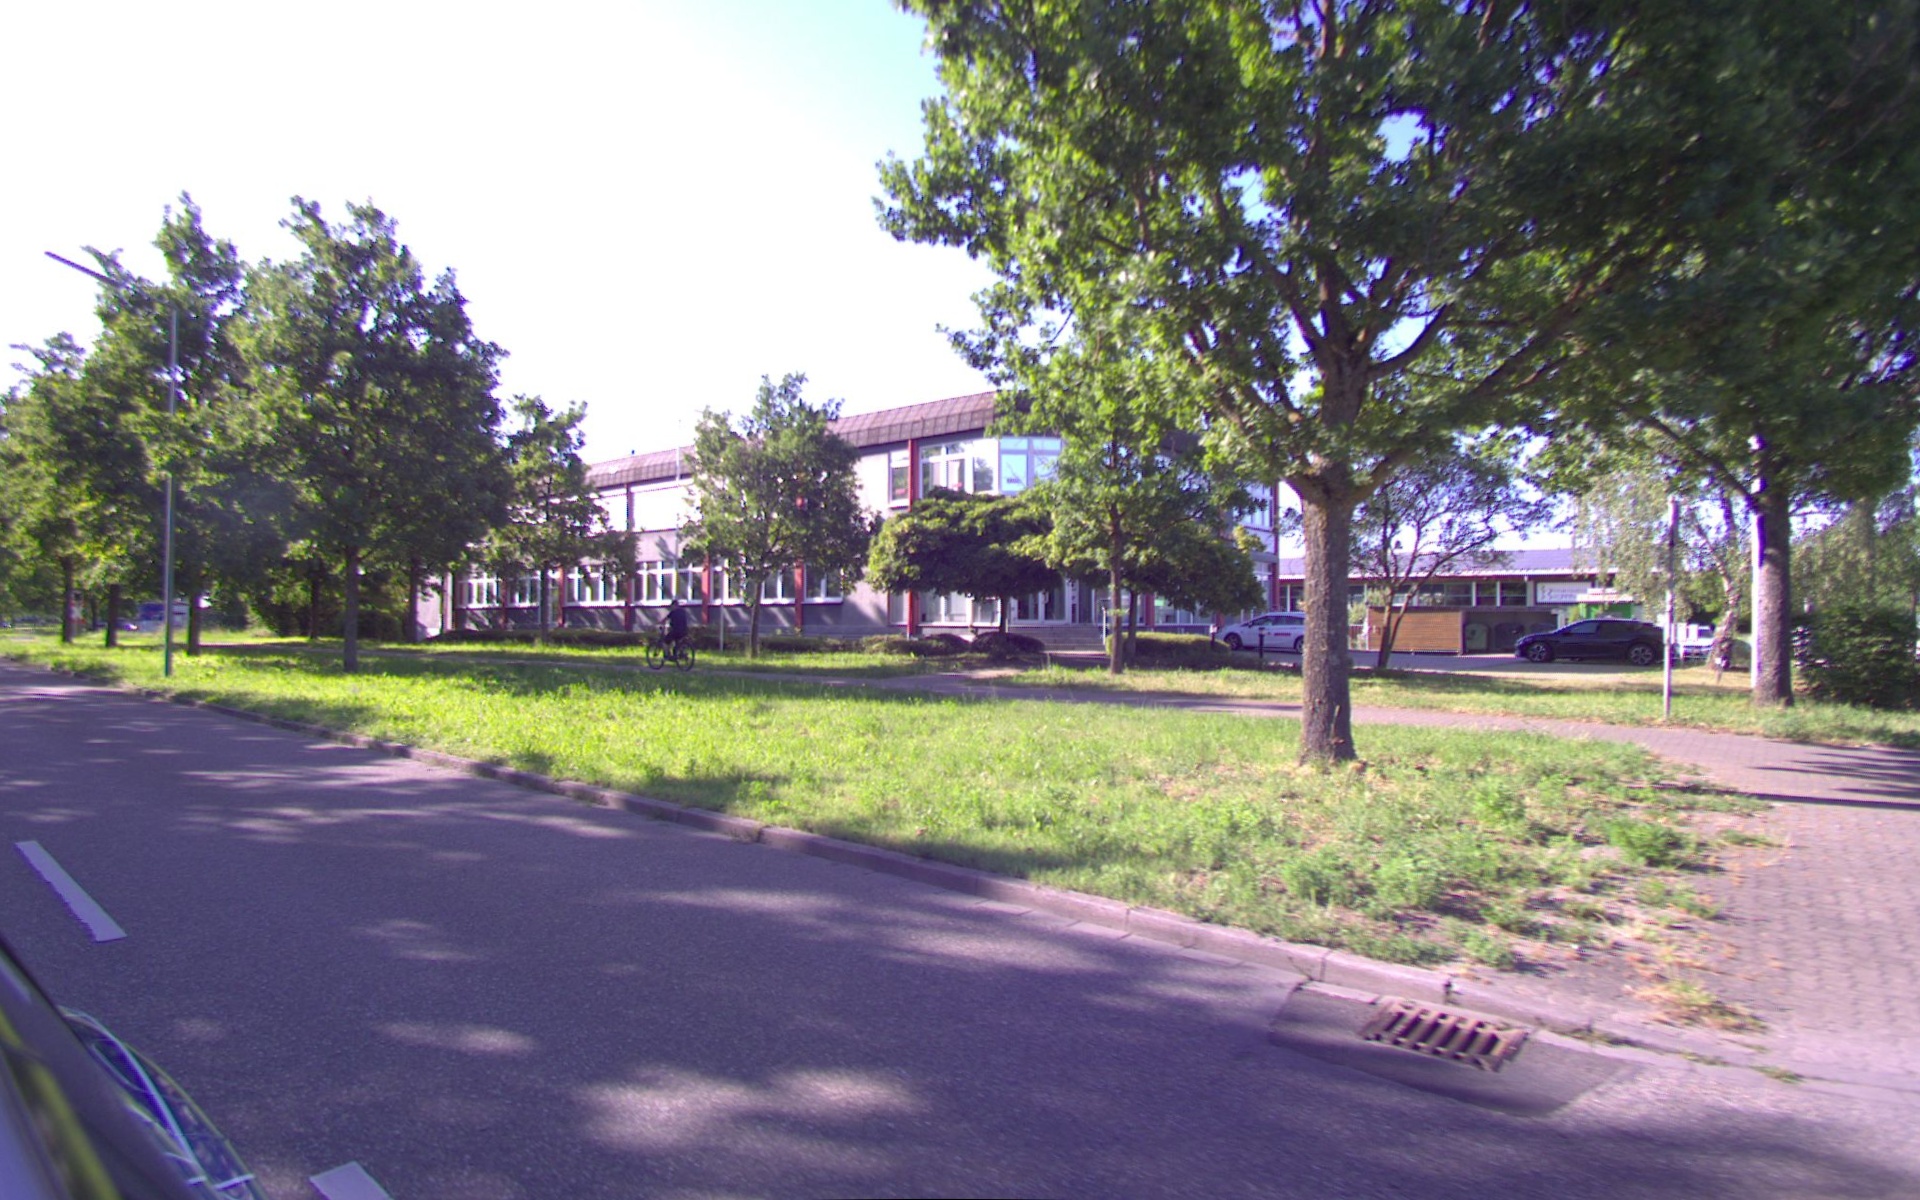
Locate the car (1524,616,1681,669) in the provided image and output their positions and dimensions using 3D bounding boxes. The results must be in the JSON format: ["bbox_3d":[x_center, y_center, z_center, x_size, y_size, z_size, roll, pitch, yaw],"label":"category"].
[{"bbox_3d":[21.589,1.371,34.079,4.293,1.505,1.974,2,1,38],"label":"car"}]

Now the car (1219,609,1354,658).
[{"bbox_3d":[11.916,1.177,37.015,4.293,1.505,1.974,2,1,38],"label":"car"}]

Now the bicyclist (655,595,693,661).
[{"bbox_3d":[-7.246,0.696,25.642,0.658,1.641,0.657,0,0,41],"label":"bicyclist"}]

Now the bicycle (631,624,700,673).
[{"bbox_3d":[-7.574,1.213,25.958,2.333,1.170,0.545,0,0,41],"label":"bicycle"}]
